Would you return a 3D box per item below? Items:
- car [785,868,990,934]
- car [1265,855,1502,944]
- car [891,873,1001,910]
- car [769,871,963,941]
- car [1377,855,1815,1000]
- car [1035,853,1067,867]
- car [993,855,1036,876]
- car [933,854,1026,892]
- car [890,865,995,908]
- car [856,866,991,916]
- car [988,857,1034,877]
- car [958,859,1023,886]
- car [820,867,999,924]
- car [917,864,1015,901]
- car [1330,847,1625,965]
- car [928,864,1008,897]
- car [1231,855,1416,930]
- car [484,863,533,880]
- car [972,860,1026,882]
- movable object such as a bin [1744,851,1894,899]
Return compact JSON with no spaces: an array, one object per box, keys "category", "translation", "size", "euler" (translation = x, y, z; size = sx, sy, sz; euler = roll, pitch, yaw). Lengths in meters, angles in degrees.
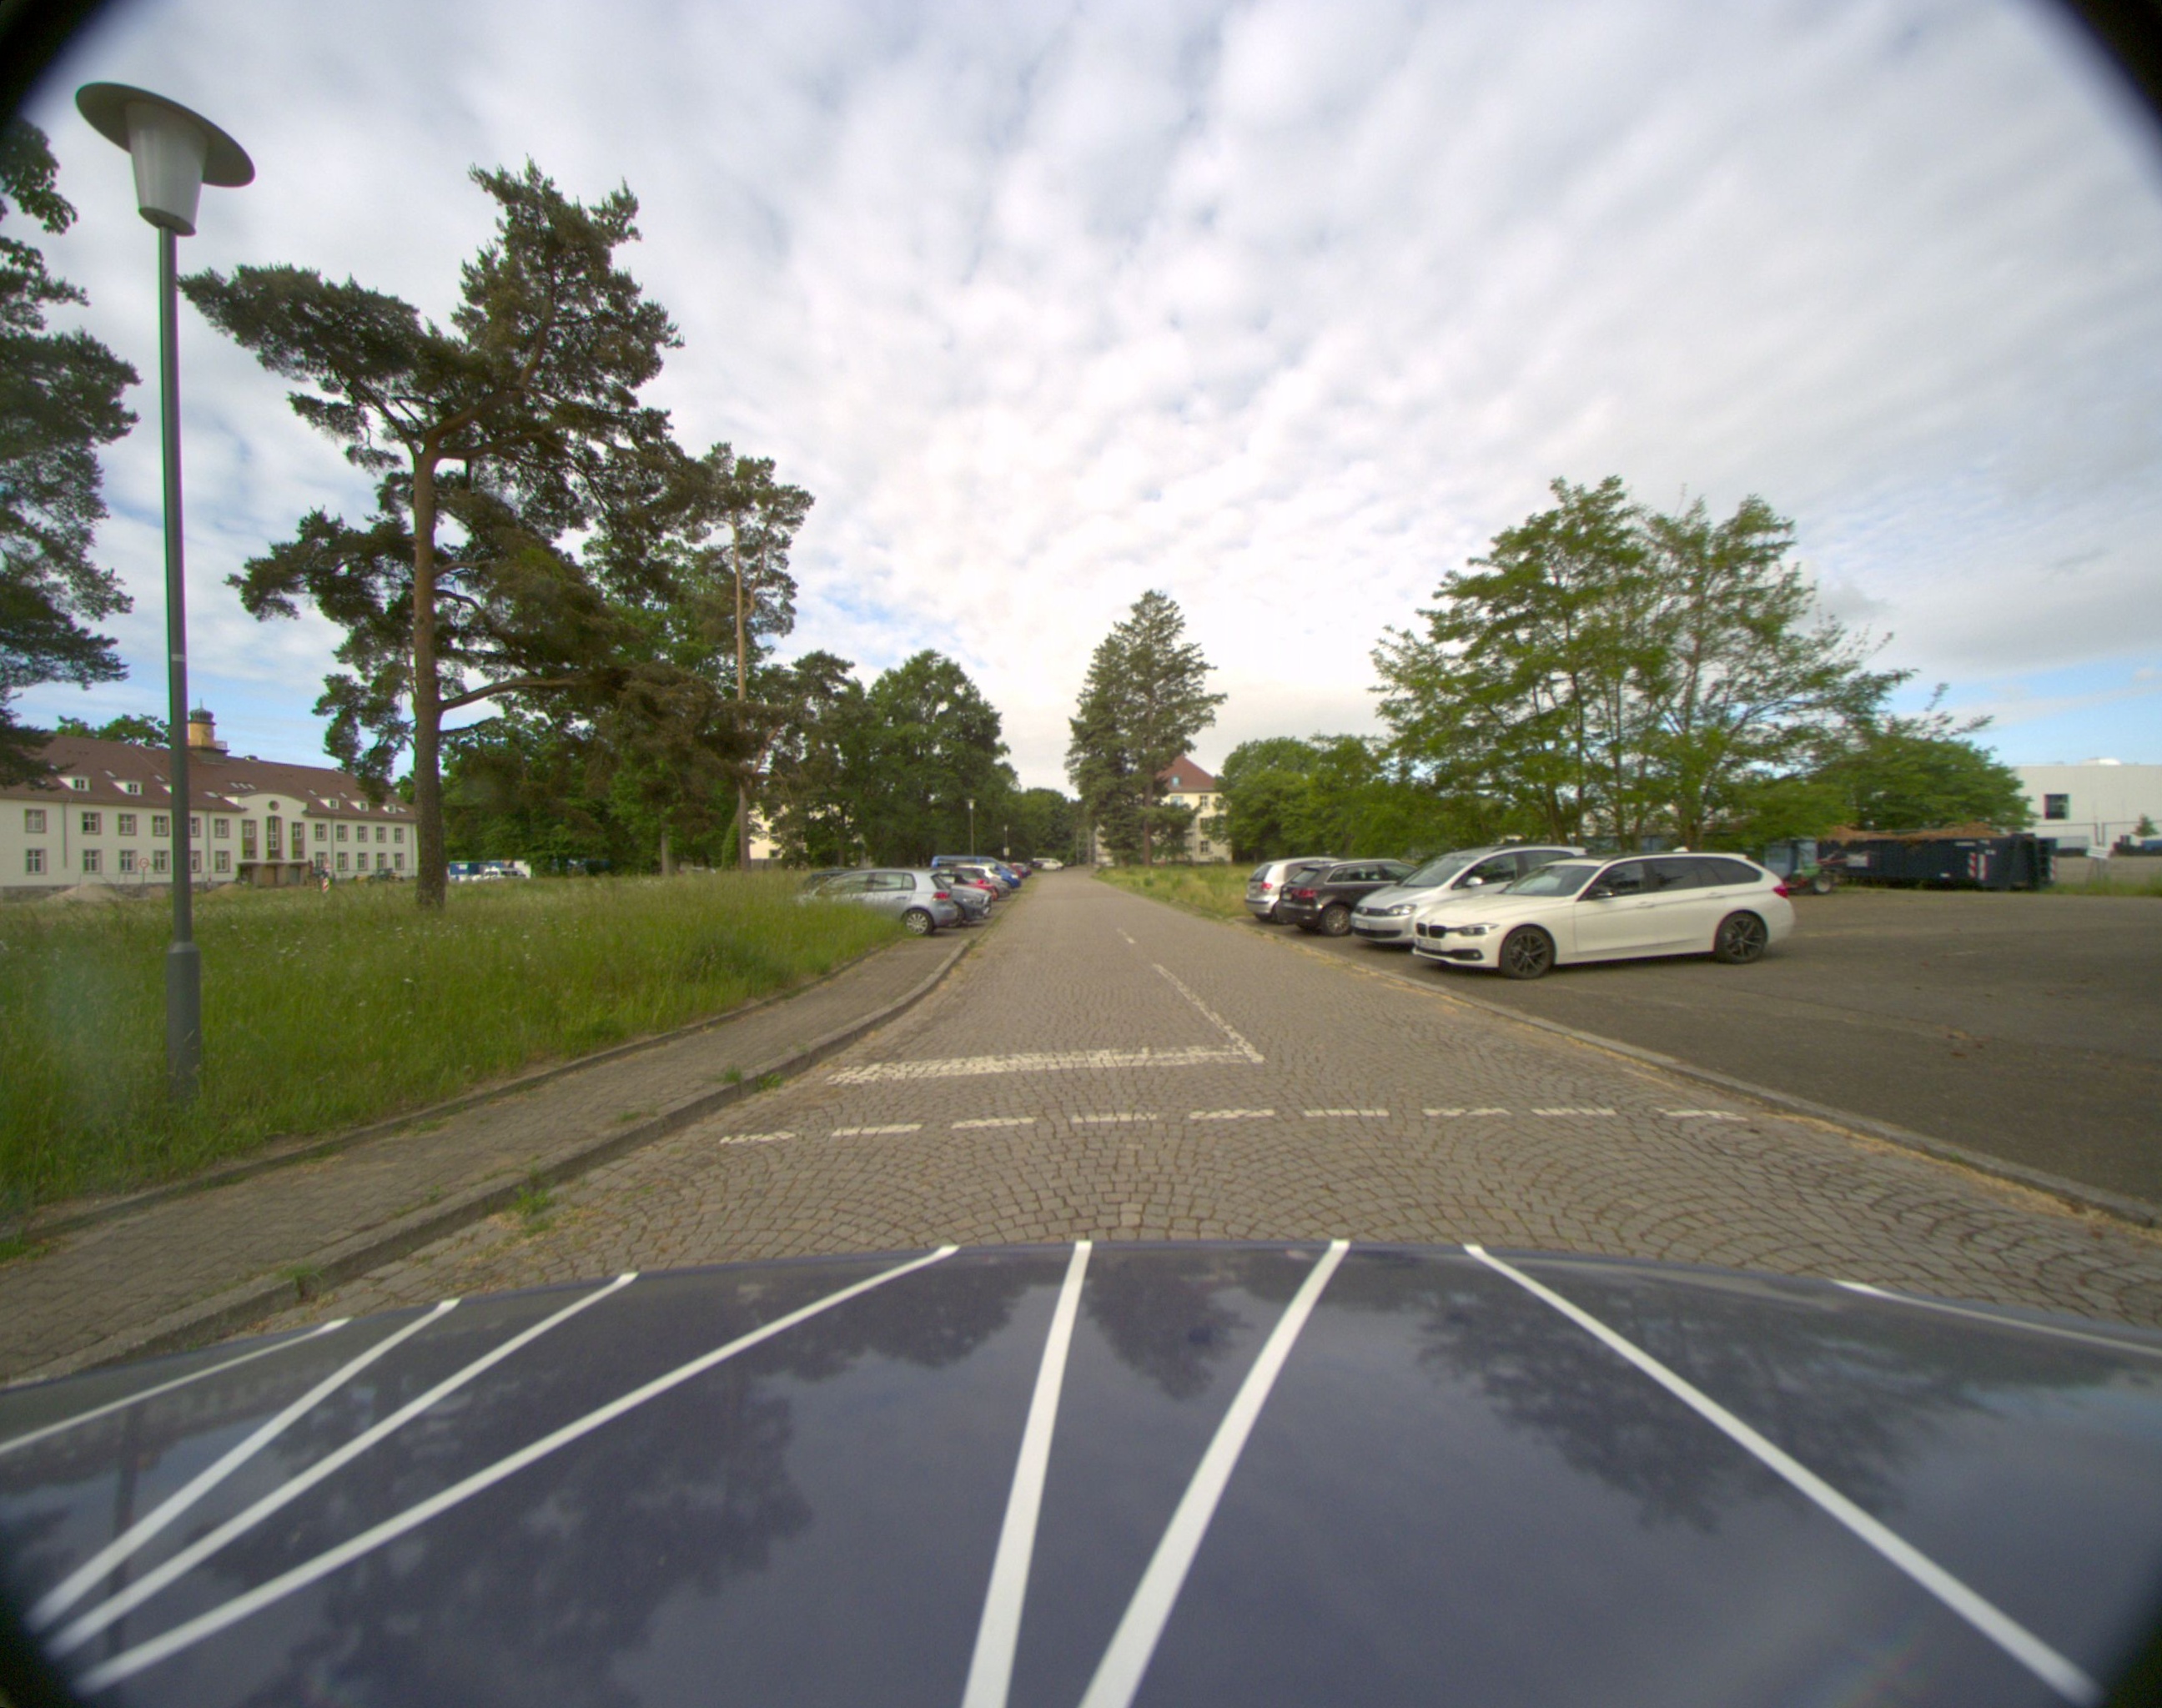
[{"category":"car","translation":[-4.735,1.145,19.212],"size":[4.771,1.474,1.761],"euler":[-1,0,-5]},{"category":"car","translation":[5.959,0.855,15.270],"size":[3.998,1.419,1.750],"euler":[-4,0,-3]},{"category":"car","translation":[-4.677,1.295,26.619],"size":[3.600,1.200,1.494],"euler":[-1,0,-1]},{"category":"car","translation":[-4.572,1.100,16.556],"size":[3.774,1.418,1.605],"euler":[0,0,-3]},{"category":"car","translation":[6.610,0.865,10.027],"size":[4.661,1.435,1.801],"euler":[-3,0,-6]},{"category":"car","translation":[-4.876,1.041,123.268],"size":[5.031,2.164,2.000],"euler":[-1,0,0]},{"category":"car","translation":[-6.450,1.096,74.313],"size":[3.997,2.002,2.000],"euler":[-1,0,-1]},{"category":"car","translation":[-5.334,0.978,40.418],"size":[4.750,1.927,1.999],"euler":[0,0,-2]},{"category":"car","translation":[-5.256,1.220,29.279],"size":[3.787,1.496,1.798],"euler":[-1,0,-4]},{"category":"car","translation":[-4.953,1.168,24.314],"size":[3.972,1.443,1.799],"euler":[-1,0,-2]},{"category":"car","translation":[-6.442,1.185,69.912],"size":[4.008,1.752,2.000],"euler":[-1,0,-1]},{"category":"car","translation":[-5.835,1.191,49.346],"size":[3.998,1.601,2.000],"euler":[-1,0,-2]},{"category":"car","translation":[-4.863,1.163,22.053],"size":[4.770,1.474,1.812],"euler":[-1,0,-2]},{"category":"car","translation":[-4.826,1.192,32.185],"size":[3.849,1.448,1.820],"euler":[-1,0,0]},{"category":"car","translation":[6.439,0.788,12.572],"size":[3.999,1.538,1.723],"euler":[-3,0,-7]},{"category":"car","translation":[-5.154,1.203,34.998],"size":[3.409,1.443,1.637],"euler":[-1,0,-1]},{"category":"car","translation":[5.665,0.859,18.005],"size":[3.689,1.444,1.807],"euler":[-4,0,-7]},{"category":"car","translation":[-71.161,2.117,94.545],"size":[2.154,2.002,5.224],"euler":[-1,0,1]},{"category":"car","translation":[-6.418,1.298,59.661],"size":[3.998,1.521,2.000],"euler":[-2,0,-2]},{"category":"movable object such as a bin","translation":[18.980,0.524,19.621],"size":[2.397,1.154,1.500],"euler":[-1,0,3]}]
